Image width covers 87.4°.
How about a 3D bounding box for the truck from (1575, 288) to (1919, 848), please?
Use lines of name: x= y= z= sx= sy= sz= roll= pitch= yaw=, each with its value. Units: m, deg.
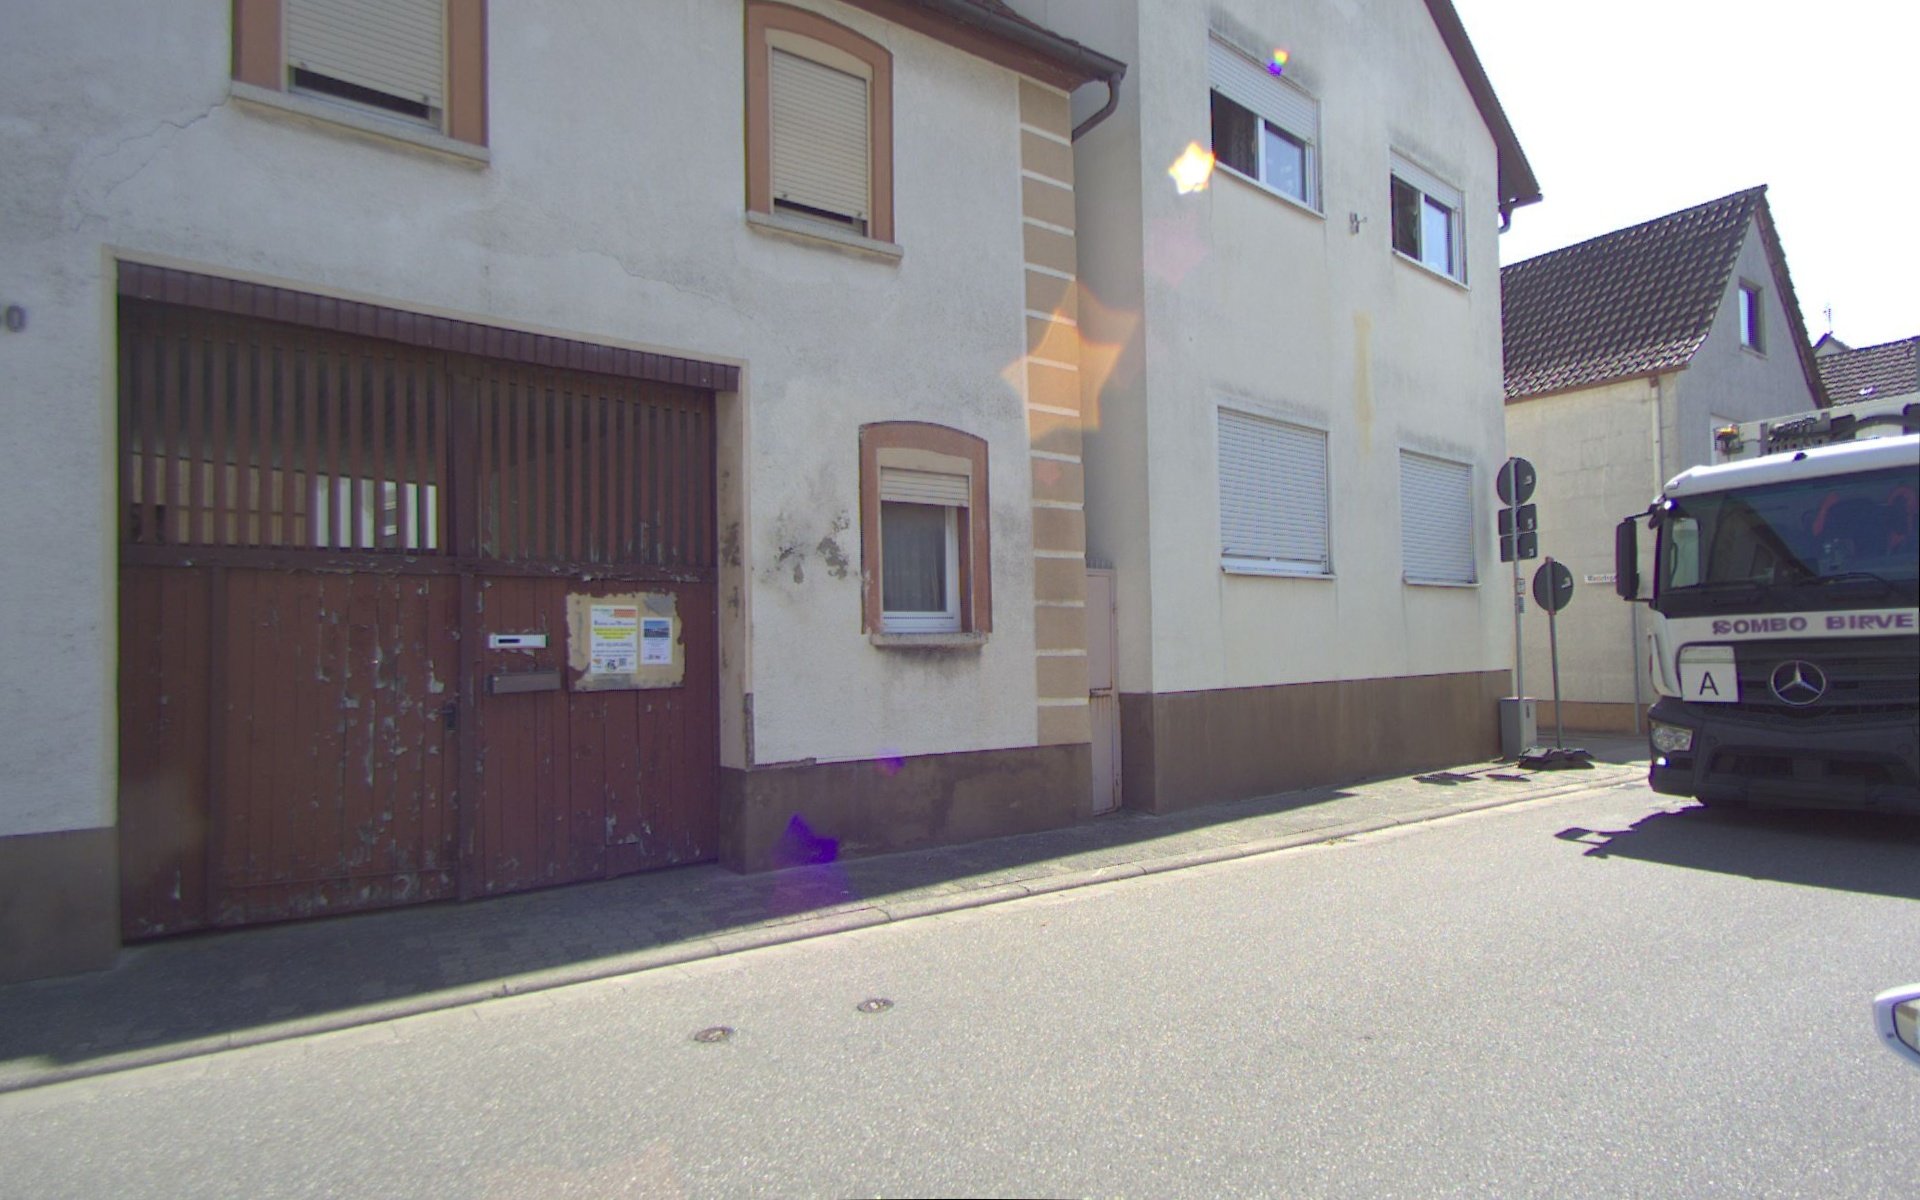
truck: x=10.613 y=-0.103 z=10.426 sx=10.749 sy=3.799 sz=2.681 roll=1 pitch=-3 yaw=-32
